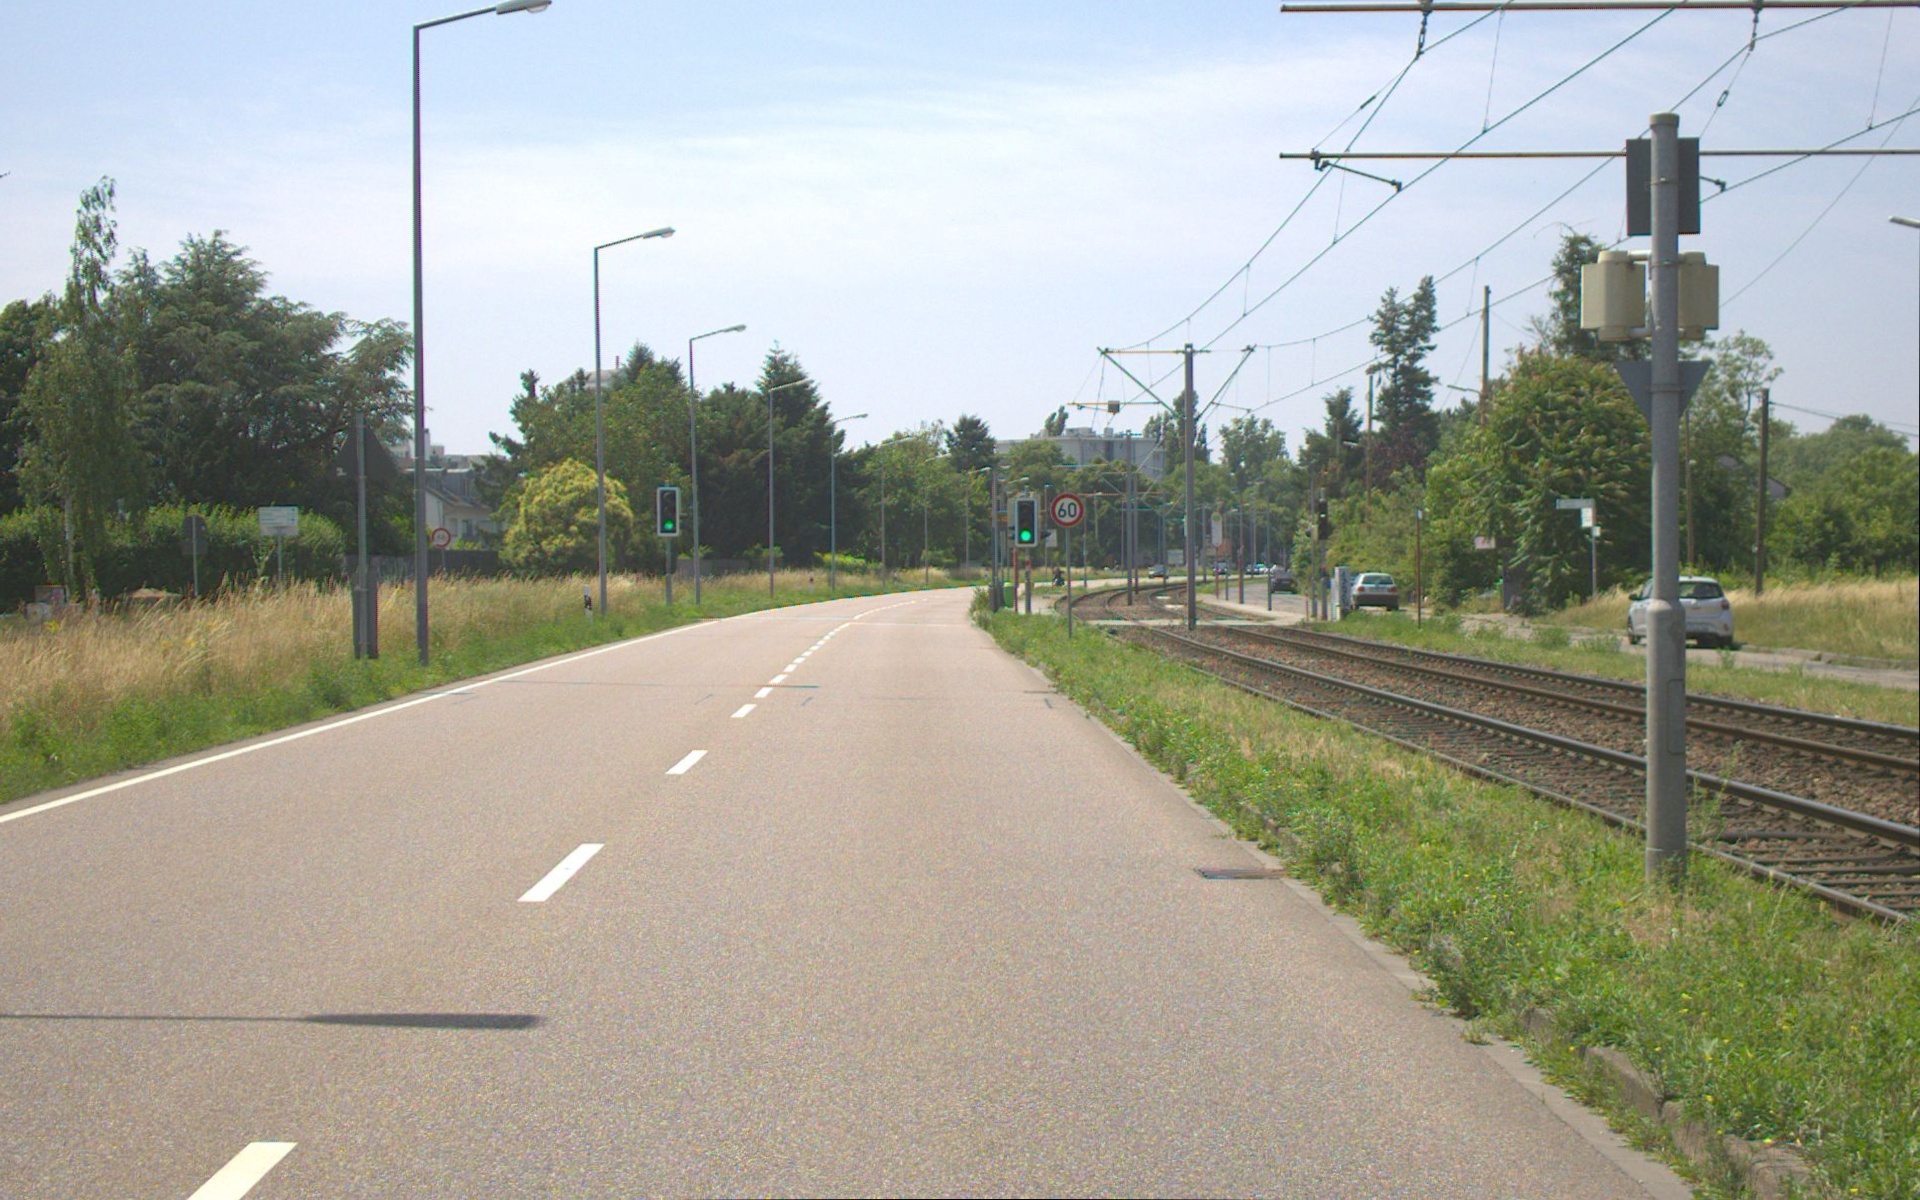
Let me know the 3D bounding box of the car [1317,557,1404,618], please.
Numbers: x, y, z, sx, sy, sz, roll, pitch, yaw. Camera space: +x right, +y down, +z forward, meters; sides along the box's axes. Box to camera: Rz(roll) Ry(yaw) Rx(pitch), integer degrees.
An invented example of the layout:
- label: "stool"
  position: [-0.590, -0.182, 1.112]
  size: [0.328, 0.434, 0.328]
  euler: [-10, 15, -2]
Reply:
- label: "car"
  position: [10.502, -0.325, 90.318]
  size: [1.744, 1.554, 4.000]
  euler: [-1, 0, -1]

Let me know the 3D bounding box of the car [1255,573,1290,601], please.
- label: "car"
  position: [19.706, -0.820, 216.892]
  size: [1.757, 1.744, 4.000]
  euler: [-1, 0, -1]

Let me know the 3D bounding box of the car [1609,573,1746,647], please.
- label: "car"
  position: [15.127, 0.207, 72.685]
  size: [1.993, 1.503, 4.000]
  euler: [-1, 0, -1]

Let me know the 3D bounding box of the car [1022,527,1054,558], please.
- label: "car"
  position: [4.137, -3.069, 182.900]
  size: [1.551, 1.579, 3.569]
  euler: [-1, 0, -1]

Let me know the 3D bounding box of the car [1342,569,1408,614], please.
- label: "car"
  position: [15.486, -0.308, 128.355]
  size: [1.915, 1.656, 4.000]
  euler: [-1, 0, -1]
